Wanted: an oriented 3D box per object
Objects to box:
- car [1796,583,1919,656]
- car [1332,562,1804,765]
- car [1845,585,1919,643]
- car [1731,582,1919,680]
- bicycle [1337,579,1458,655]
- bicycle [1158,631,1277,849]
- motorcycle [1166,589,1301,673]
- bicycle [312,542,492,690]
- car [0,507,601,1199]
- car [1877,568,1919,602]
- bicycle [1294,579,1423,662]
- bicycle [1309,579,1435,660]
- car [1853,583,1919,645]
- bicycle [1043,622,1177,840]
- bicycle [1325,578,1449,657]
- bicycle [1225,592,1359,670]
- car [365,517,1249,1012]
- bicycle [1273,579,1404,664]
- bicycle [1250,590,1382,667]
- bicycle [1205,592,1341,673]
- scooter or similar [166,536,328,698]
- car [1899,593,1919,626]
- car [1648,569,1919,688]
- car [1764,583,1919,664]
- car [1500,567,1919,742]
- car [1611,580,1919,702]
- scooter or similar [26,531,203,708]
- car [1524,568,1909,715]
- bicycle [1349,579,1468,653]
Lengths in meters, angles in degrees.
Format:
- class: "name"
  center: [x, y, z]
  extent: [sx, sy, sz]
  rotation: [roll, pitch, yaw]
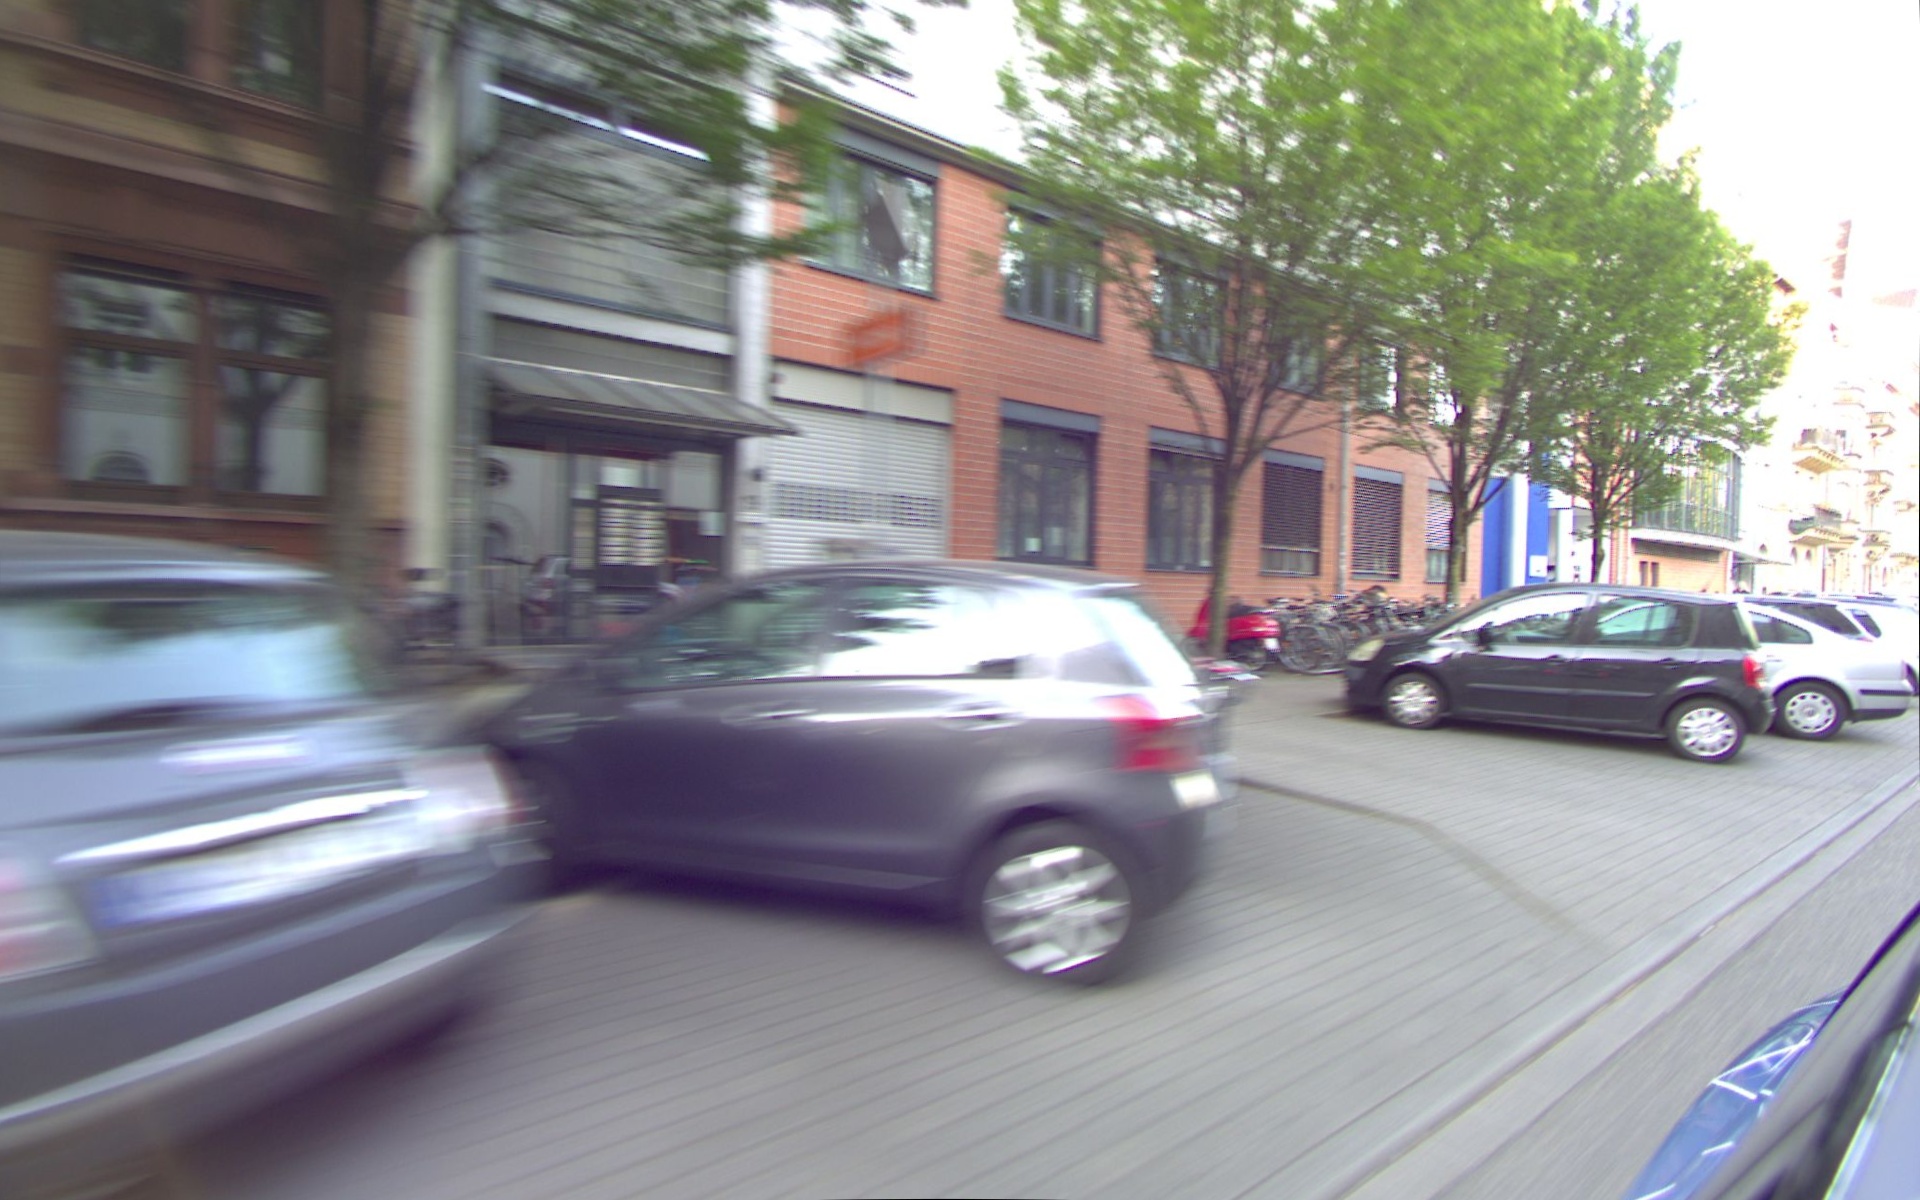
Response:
- class: "car"
  center: [22.374, 0.493, 23.918]
  extent: [3.812, 1.537, 1.657]
  rotation: [5, 4, 35]
- class: "car"
  center: [6.012, 0.495, 10.454]
  extent: [3.803, 1.584, 1.661]
  rotation: [4, 4, 29]
- class: "car"
  center: [28.208, 0.462, 29.175]
  extent: [3.812, 1.537, 1.657]
  rotation: [5, 4, 35]
- class: "car"
  center: [16.734, 0.575, 18.480]
  extent: [3.785, 1.537, 1.669]
  rotation: [4, 3, 19]
- class: "bicycle"
  center: [7.519, 0.261, 17.439]
  extent: [1.766, 1.113, 0.537]
  rotation: [8, 5, 44]
- class: "bicycle"
  center: [1.591, 0.769, 6.124]
  extent: [0.569, 1.077, 1.377]
  rotation: [0, 1, 20]
- class: "motorcycle"
  center: [3.728, 0.391, 13.977]
  extent: [0.578, 0.937, 1.993]
  rotation: [2, 4, -26]
- class: "bicycle"
  center: [-5.209, 0.100, 9.389]
  extent: [2.009, 1.179, 0.573]
  rotation: [5, 3, 33]
- class: "car"
  center: [-3.018, 0.493, 2.907]
  extent: [3.592, 1.536, 1.612]
  rotation: [4, 2, 23]
- class: "car"
  center: [45.796, -0.641, 47.366]
  extent: [3.792, 1.537, 1.666]
  rotation: [4, 4, 23]
- class: "bicycle"
  center: [6.307, 0.290, 16.095]
  extent: [1.766, 1.113, 0.537]
  rotation: [8, 5, 44]
- class: "bicycle"
  center: [6.703, 0.284, 16.529]
  extent: [1.766, 1.113, 0.537]
  rotation: [8, 5, 44]
- class: "car"
  center: [26.371, 0.447, 26.796]
  extent: [3.812, 1.537, 1.657]
  rotation: [5, 4, 35]
- class: "bicycle"
  center: [0.980, 0.740, 6.348]
  extent: [0.569, 1.140, 1.377]
  rotation: [0, 1, 20]
- class: "bicycle"
  center: [7.140, 0.270, 16.991]
  extent: [1.766, 1.113, 0.537]
  rotation: [8, 5, 44]
- class: "bicycle"
  center: [4.859, 0.426, 14.909]
  extent: [1.766, 0.937, 0.537]
  rotation: [8, 5, 44]
- class: "car"
  center: [-0.653, 0.482, 4.757]
  extent: [3.751, 1.536, 1.641]
  rotation: [4, 2, 19]
- class: "bicycle"
  center: [5.851, 0.302, 15.715]
  extent: [1.766, 1.113, 0.537]
  rotation: [8, 5, 44]
- class: "bicycle"
  center: [5.346, 0.397, 15.276]
  extent: [1.766, 0.937, 0.537]
  rotation: [8, 5, 44]
- class: "bicycle"
  center: [4.453, 0.433, 14.490]
  extent: [1.766, 0.937, 0.537]
  rotation: [8, 5, 44]
- class: "scooter or similar"
  center: [-5.837, 0.130, 8.318]
  extent: [1.044, 1.297, 0.330]
  rotation: [0, 0, -10]
- class: "car"
  center: [48.239, 0.569, 48.859]
  extent: [3.792, 1.537, 1.666]
  rotation: [4, 4, 23]
- class: "car"
  center: [14.092, 0.416, 17.031]
  extent: [3.793, 1.668, 1.665]
  rotation: [4, 4, 24]
- class: "car"
  center: [20.266, 0.521, 22.108]
  extent: [3.792, 1.537, 1.666]
  rotation: [4, 4, 23]
- class: "car"
  center: [8.538, 0.514, 11.679]
  extent: [3.789, 1.584, 1.667]
  rotation: [4, 4, 21]
- class: "car"
  center: [12.172, 0.544, 15.075]
  extent: [3.789, 1.447, 1.667]
  rotation: [4, 4, 21]
- class: "scooter or similar"
  center: [-6.368, 0.140, 7.639]
  extent: [1.045, 1.297, 0.330]
  rotation: [0, 0, -2]
- class: "car"
  center: [10.060, 0.465, 13.843]
  extent: [3.789, 1.584, 1.667]
  rotation: [4, 4, 21]
- class: "bicycle"
  center: [7.900, 0.255, 17.876]
  extent: [1.766, 1.113, 0.537]
  rotation: [8, 5, 44]
